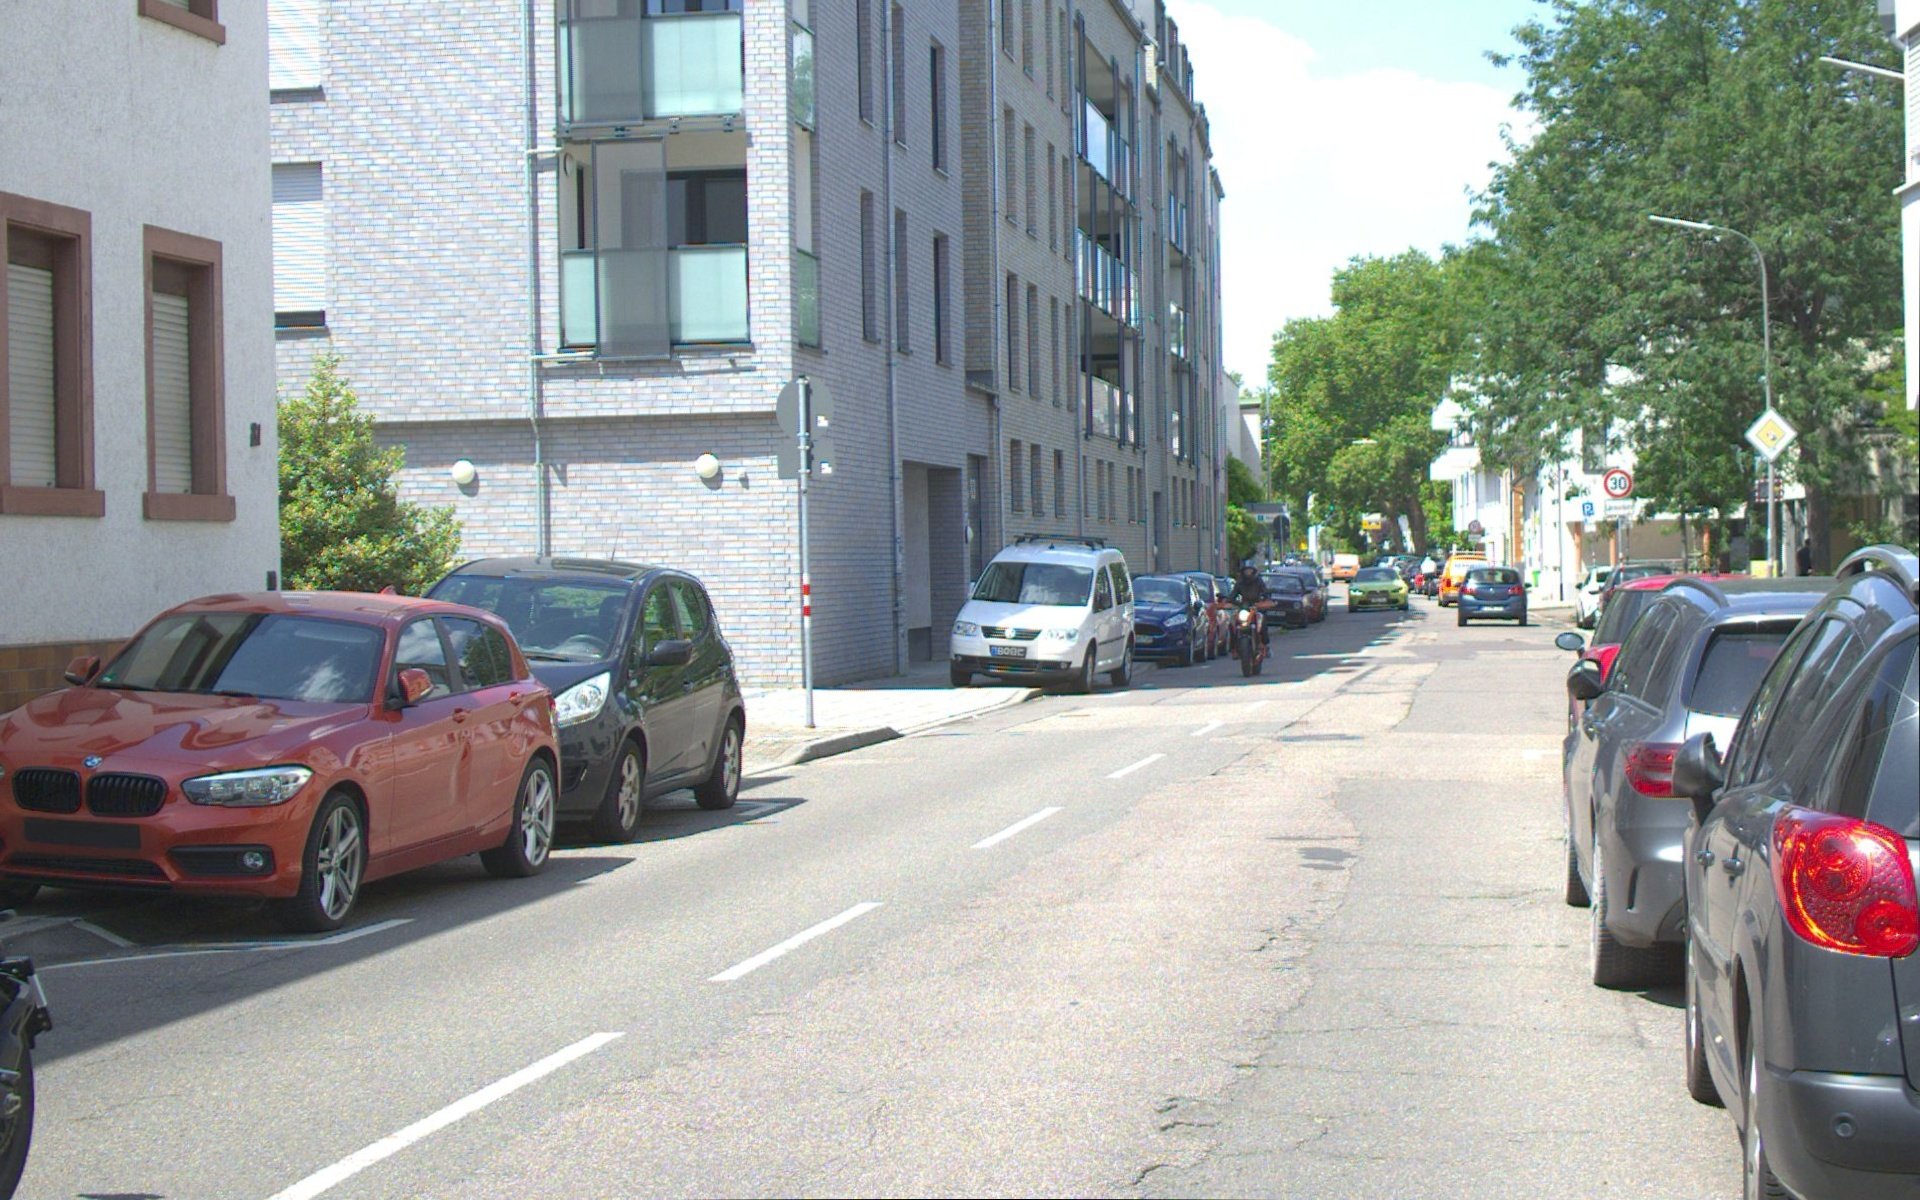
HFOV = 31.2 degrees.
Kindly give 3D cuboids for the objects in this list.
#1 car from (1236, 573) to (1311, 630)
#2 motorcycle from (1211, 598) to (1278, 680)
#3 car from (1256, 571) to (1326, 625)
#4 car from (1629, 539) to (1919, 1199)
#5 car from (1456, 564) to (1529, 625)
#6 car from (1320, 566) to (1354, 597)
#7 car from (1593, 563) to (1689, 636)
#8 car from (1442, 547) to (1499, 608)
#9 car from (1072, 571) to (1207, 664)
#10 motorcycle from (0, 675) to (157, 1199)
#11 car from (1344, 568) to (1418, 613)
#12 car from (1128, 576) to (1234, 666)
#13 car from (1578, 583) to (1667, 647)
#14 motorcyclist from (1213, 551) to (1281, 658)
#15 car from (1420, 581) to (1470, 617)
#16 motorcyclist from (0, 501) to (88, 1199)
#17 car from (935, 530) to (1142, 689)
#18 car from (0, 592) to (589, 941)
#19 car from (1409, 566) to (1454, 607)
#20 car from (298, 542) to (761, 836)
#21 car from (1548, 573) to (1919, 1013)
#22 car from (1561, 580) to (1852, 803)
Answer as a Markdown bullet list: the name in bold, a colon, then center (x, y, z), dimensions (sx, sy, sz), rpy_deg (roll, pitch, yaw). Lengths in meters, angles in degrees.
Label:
- **car**: center (8.324, 0.022, 91.066), dimensions (1.733, 1.437, 3.999), rpy_deg (-1, 0, 8)
- **motorcycle**: center (4.053, 0.543, 48.856), dimensions (0.688, 1.119, 2.027), rpy_deg (-1, 0, 11)
- **car**: center (9.278, -0.065, 96.217), dimensions (1.733, 1.437, 3.999), rpy_deg (-1, 0, 8)
- **car**: center (2.559, 0.618, 8.123), dimensions (1.710, 1.503, 3.999), rpy_deg (-1, 0, 8)
- **car**: center (13.121, -0.149, 84.729), dimensions (1.716, 1.397, 3.999), rpy_deg (-1, 1, 9)
- **car**: center (24.718, -1.242, 225.589), dimensions (2.157, 2.007, 3.999), rpy_deg (-1, 0, 6)
- **car**: center (14.396, -0.023, 72.816), dimensions (1.693, 1.415, 3.999), rpy_deg (-3, 0, 8)
- **car**: center (17.453, -0.798, 117.368), dimensions (1.839, 2.007, 3.999), rpy_deg (-1, 1, 9)
- **car**: center (2.969, 0.263, 56.244), dimensions (1.724, 1.451, 4.003), rpy_deg (1, 1, 10)
- **motorcycle**: center (-2.531, 0.780, 7.163), dimensions (0.896, 1.172, 2.207), rpy_deg (0, 1, 9)
- **car**: center (13.574, -0.324, 110.644), dimensions (1.994, 1.376, 4.390), rpy_deg (1, 1, 11)
- **car**: center (3.968, 0.350, 61.336), dimensions (1.591, 1.548, 3.570), rpy_deg (0, 0, 8)
- **car**: center (15.194, 0.327, 78.990), dimensions (1.779, 1.415, 3.999), rpy_deg (-1, 0, 8)
- **motorcyclist**: center (4.090, 0.056, 48.972), dimensions (0.823, 1.504, 1.056), rpy_deg (-1, 0, 12)
- **car**: center (21.818, -0.053, 154.786), dimensions (1.994, 1.612, 3.999), rpy_deg (0, 0, 5)
- **motorcyclist**: center (-2.502, 0.532, 7.164), dimensions (0.916, 1.475, 1.202), rpy_deg (0, 0, 9)
- **car**: center (1.058, 0.082, 43.842), dimensions (1.758, 1.885, 4.334), rpy_deg (2, 1, 13)
- **car**: center (-3.309, 0.692, 16.487), dimensions (1.835, 1.412, 4.288), rpy_deg (-1, 0, 11)
- **car**: center (19.069, -0.565, 139.077), dimensions (1.711, 1.628, 3.703), rpy_deg (-1, 0, 7)
- **car**: center (-2.565, 0.482, 21.429), dimensions (1.795, 1.641, 3.943), rpy_deg (0, 1, 10)
- **car**: center (3.222, 0.614, 13.419), dimensions (1.730, 1.415, 4.543), rpy_deg (-1, 0, 9)
- **car**: center (5.016, 0.570, 23.461), dimensions (1.619, 1.381, 3.538), rpy_deg (0, 1, 7)
